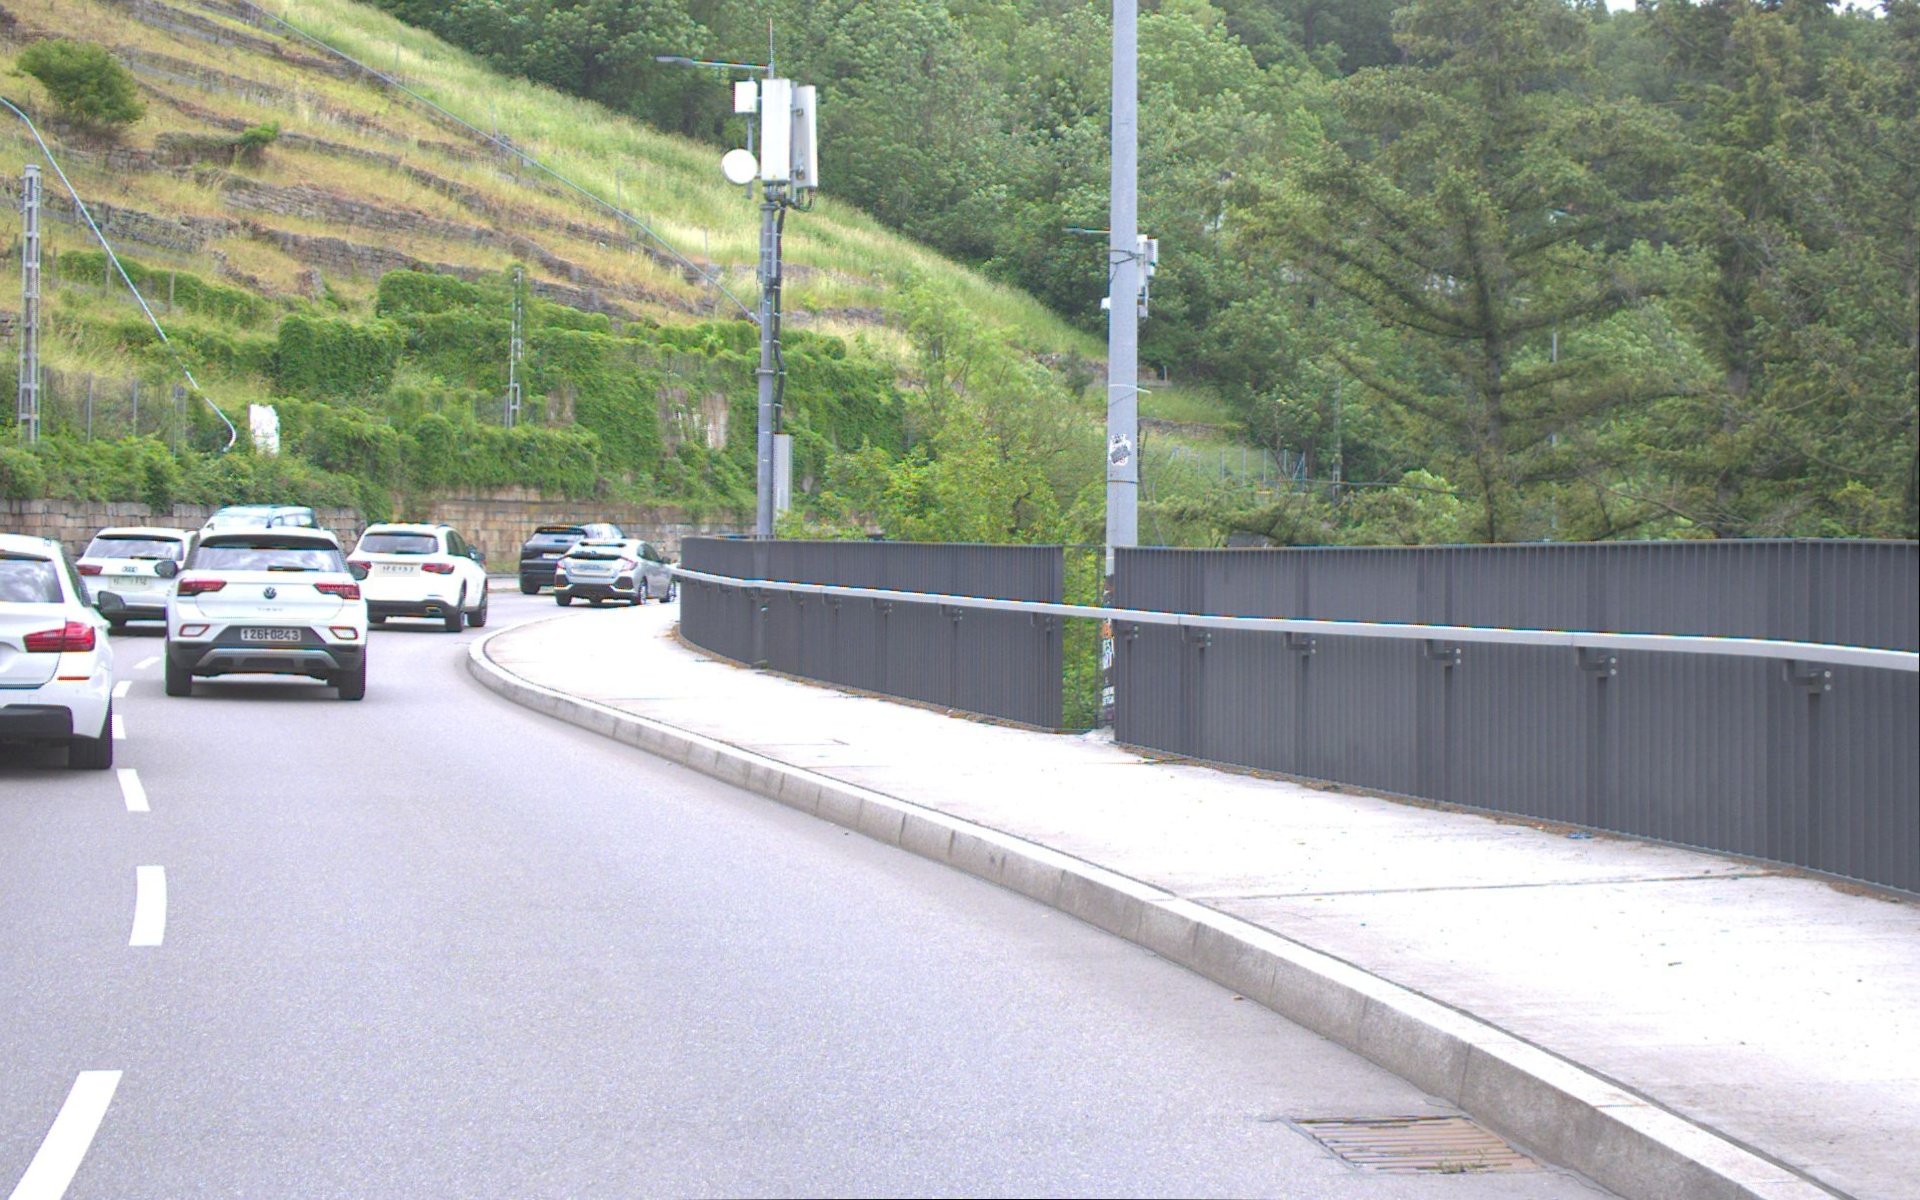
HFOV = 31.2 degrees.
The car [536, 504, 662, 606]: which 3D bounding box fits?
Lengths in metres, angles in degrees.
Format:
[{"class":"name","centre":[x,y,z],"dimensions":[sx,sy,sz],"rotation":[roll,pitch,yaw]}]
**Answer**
[{"class":"car","centre":[-7.483,-0.911,71.545],"dimensions":[1.994,2.007,4.000],"rotation":[-2,0,2]}]

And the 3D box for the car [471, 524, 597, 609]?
[{"class":"car","centre":[-9.801,-0.742,79.371],"dimensions":[1.870,1.756,3.998],"rotation":[0,-2,9]}]

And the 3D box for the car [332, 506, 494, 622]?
[{"class":"car","centre":[-8.504,-0.573,53.790],"dimensions":[1.993,1.712,4.114],"rotation":[1,1,-2]}]

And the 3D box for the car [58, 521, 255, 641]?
[{"class":"car","centre":[-11.085,-0.271,47.727],"dimensions":[1.993,1.498,4.668],"rotation":[-3,1,-6]}]

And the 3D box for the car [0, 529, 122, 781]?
[{"class":"car","centre":[-6.455,0.260,22.225],"dimensions":[1.827,1.455,4.487],"rotation":[3,0,-15]}]

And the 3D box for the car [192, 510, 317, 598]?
[{"class":"car","centre":[-15.558,-1.035,76.013],"dimensions":[1.850,1.776,4.734],"rotation":[3,1,-2]}]

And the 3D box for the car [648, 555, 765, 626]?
[{"class":"car","centre":[-6.941,-0.247,94.565],"dimensions":[1.871,1.756,3.996],"rotation":[-1,-3,17]}]

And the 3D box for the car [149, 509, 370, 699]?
[{"class":"car","centre":[-6.589,0.015,32.049],"dimensions":[1.827,1.600,4.001],"rotation":[2,0,-13]}]
